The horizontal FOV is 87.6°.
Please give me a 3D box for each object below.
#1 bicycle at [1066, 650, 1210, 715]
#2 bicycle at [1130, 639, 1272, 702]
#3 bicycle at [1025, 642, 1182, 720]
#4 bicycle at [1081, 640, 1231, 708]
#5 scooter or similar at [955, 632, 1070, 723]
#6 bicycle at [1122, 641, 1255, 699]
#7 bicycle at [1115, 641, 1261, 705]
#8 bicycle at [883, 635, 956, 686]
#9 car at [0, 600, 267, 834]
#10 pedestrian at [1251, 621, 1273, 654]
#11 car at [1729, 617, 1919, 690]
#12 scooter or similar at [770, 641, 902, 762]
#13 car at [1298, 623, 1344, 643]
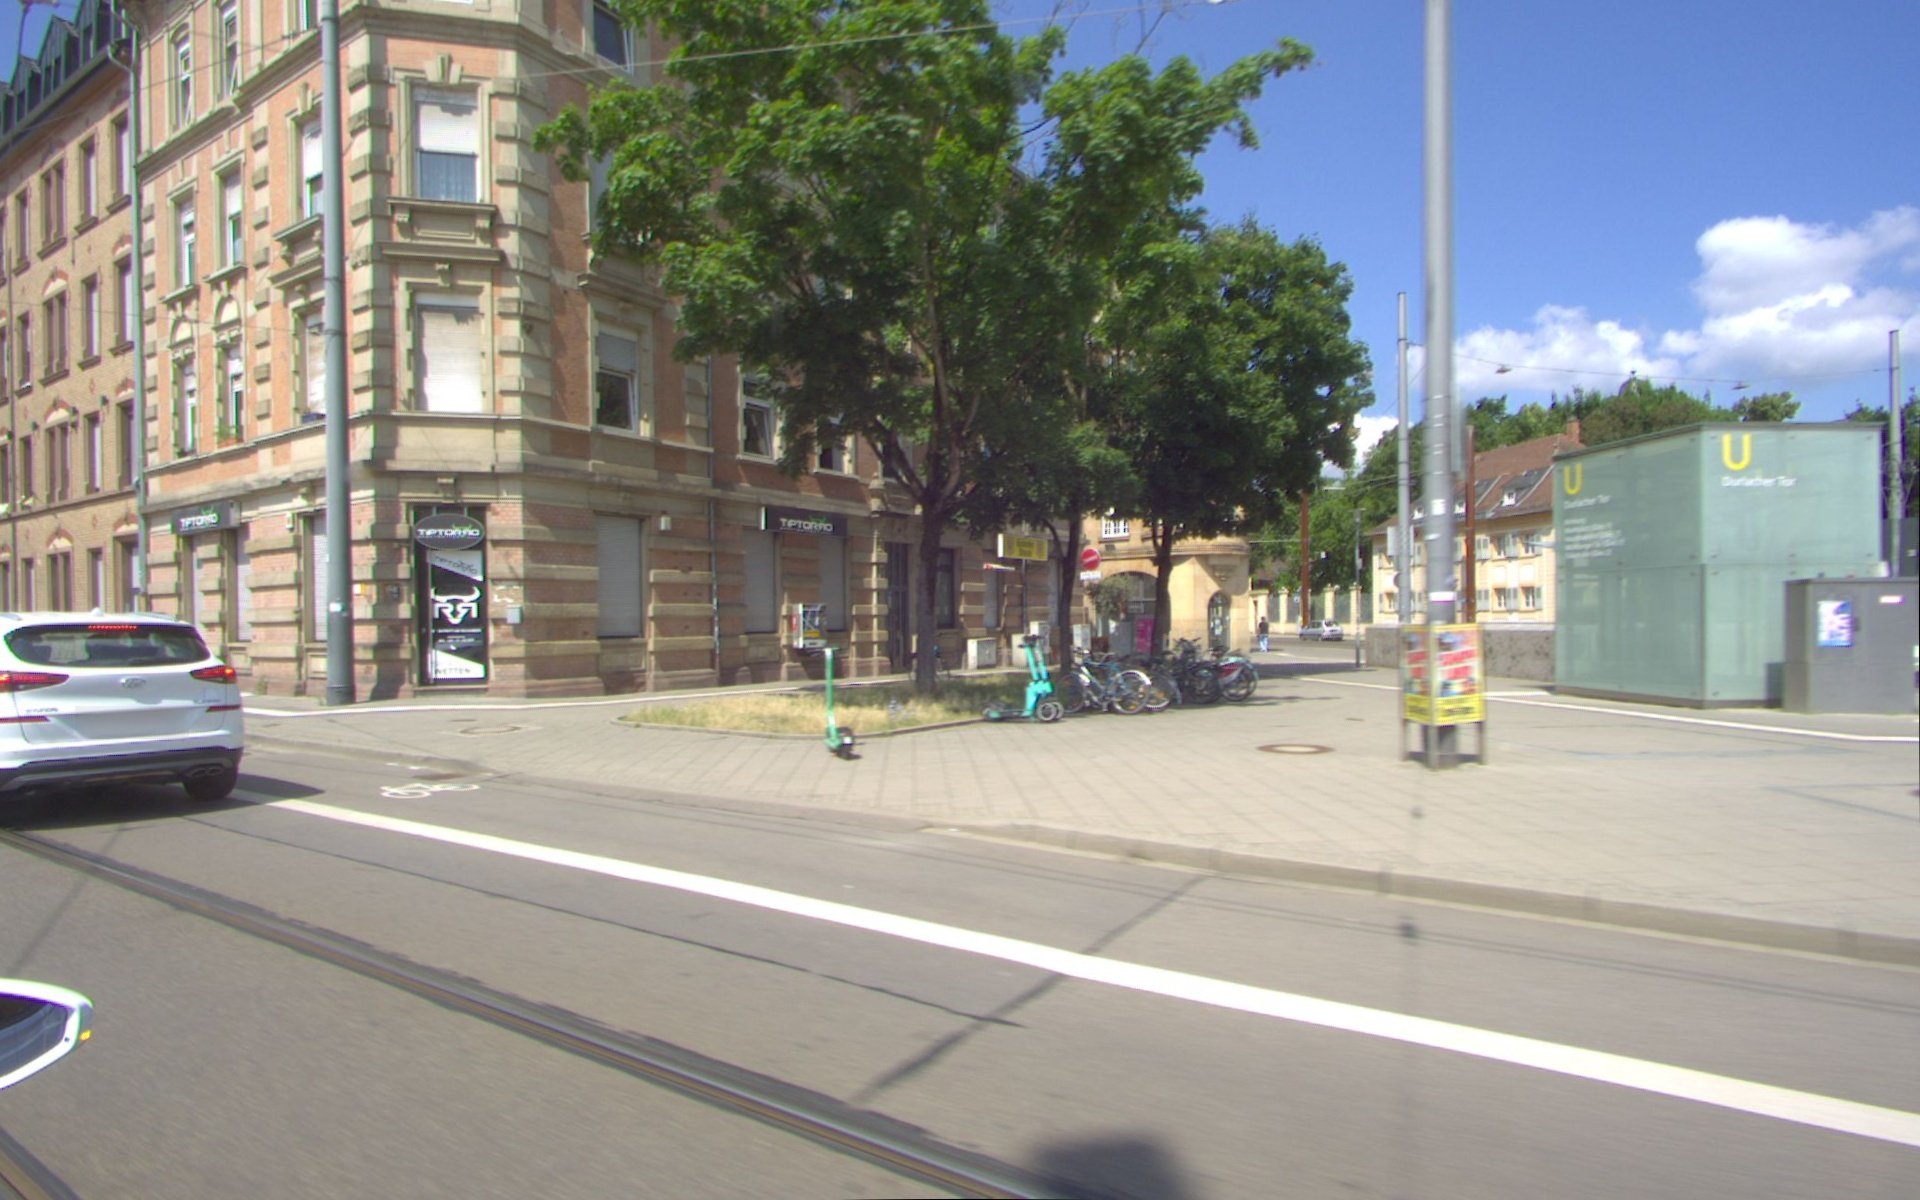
[{"bbox_3d":[2.964,1.352,16.808,2.257,0.892,0.839,1,2,36],"label":"bicycle"},{"bbox_3d":[4.620,1.331,19.313,2.540,1.105,0.789,-1,0,36],"label":"bicycle"},{"bbox_3d":[2.252,1.240,15.840,2.234,1.096,1.021,-1,0,36],"label":"bicycle"},{"bbox_3d":[3.478,1.290,17.961,2.540,1.084,0.789,-1,0,36],"label":"bicycle"},{"bbox_3d":[0.763,1.081,14.375,1.368,1.219,0.947,-1,0,27],"label":"scooter or similar"},{"bbox_3d":[4.619,1.395,20.375,2.540,1.068,0.789,-1,0,36],"label":"bicycle"},{"bbox_3d":[4.186,1.312,18.530,2.540,1.068,0.789,-1,0,36],"label":"bicycle"},{"bbox_3d":[-0.904,1.341,22.644,0.756,1.064,1.639,0,0,41],"label":"bicycle"},{"bbox_3d":[-8.112,0.876,8.858,4.122,1.655,1.848,-1,-2,33],"label":"car"},{"bbox_3d":[14.674,1.833,48.665,0.880,1.579,0.864,0,0,4],"label":"pedestrian"},{"bbox_3d":[20.737,1.189,23.687,1.901,1.586,3.996,0,-1,-3],"label":"car"},{"bbox_3d":[-1.349,1.064,10.933,1.073,1.195,0.943,-1,0,40],"label":"scooter or similar"},{"bbox_3d":[26.870,2.455,74.706,1.649,1.405,3.795,0,-1,-8],"label":"car"}]
